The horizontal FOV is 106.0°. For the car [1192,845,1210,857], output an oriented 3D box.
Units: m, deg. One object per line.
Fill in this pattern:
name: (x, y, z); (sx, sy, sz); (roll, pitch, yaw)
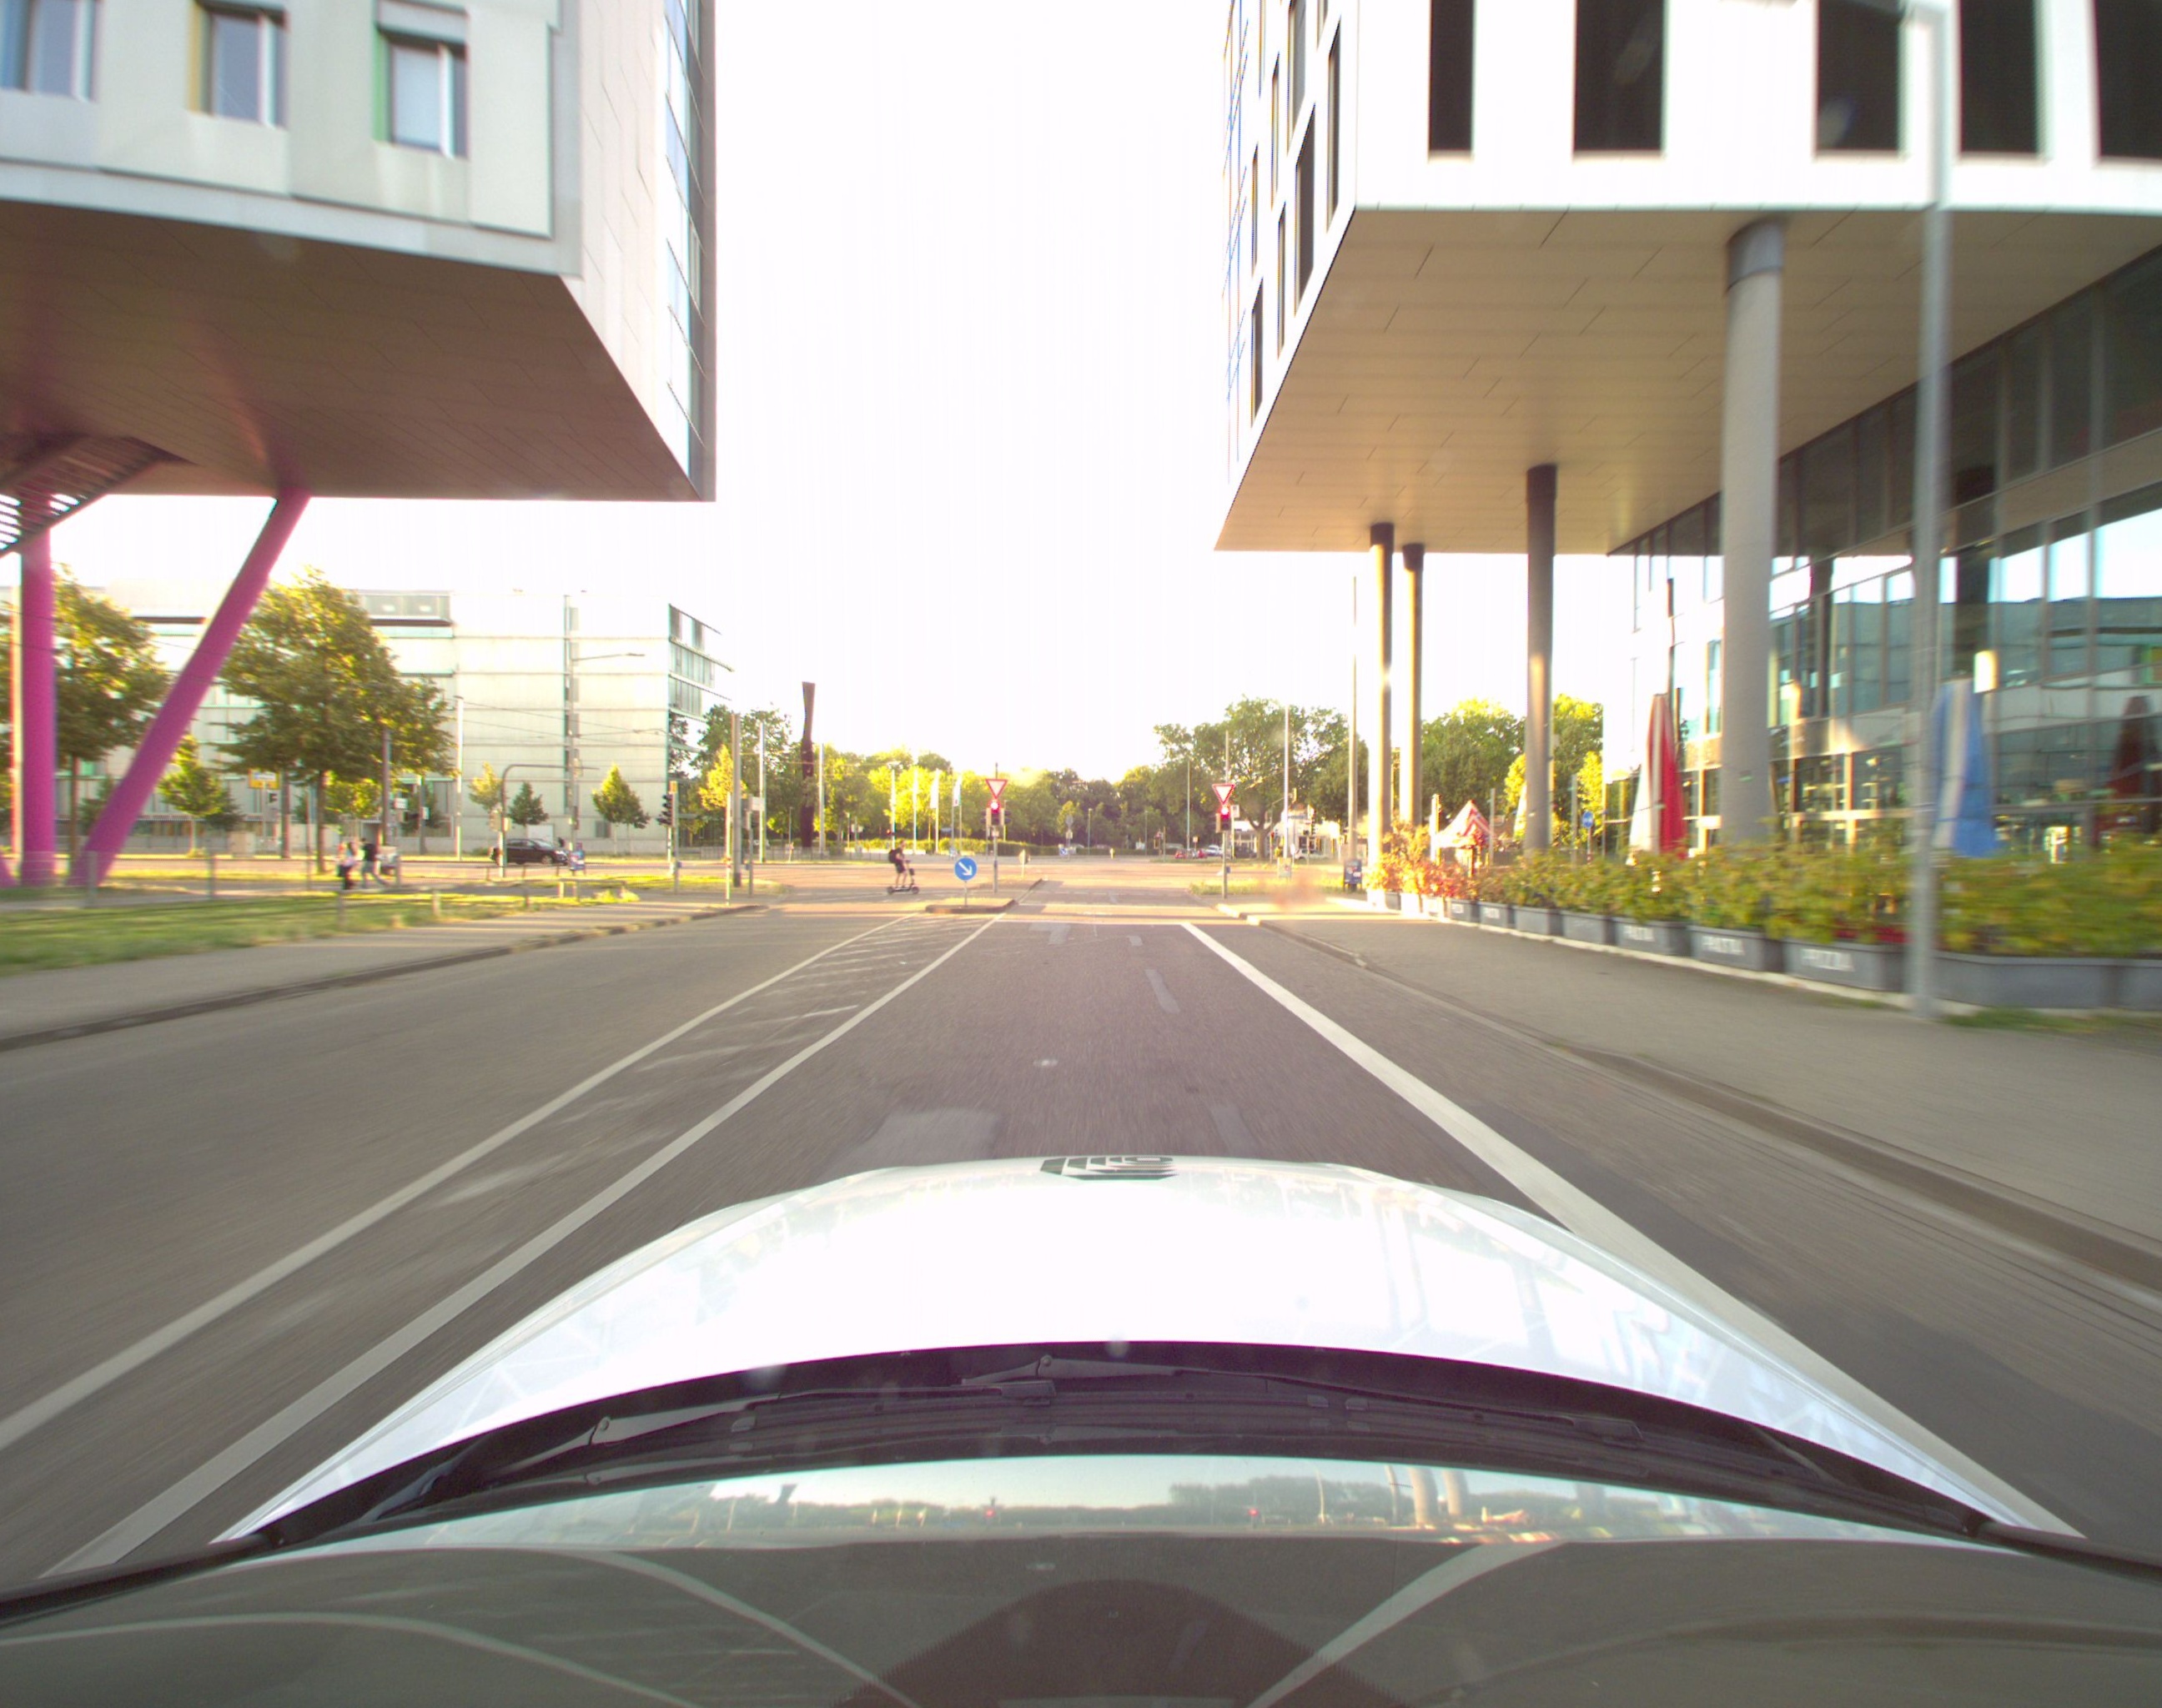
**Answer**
car: (17.227, -0.500, 116.411); (1.483, 1.606, 3.424); (1, 2, 28)

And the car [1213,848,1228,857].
car: (25.305, -0.338, 147.600); (1.483, 1.606, 3.425); (1, 2, 31)

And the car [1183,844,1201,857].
car: (15.386, -0.490, 112.790); (1.483, 1.606, 3.424); (1, 2, 28)

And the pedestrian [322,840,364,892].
pedestrian: (-23.458, 0.377, 25.895); (0.680, 1.624, 0.715); (1, 1, 19)

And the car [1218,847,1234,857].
car: (22.852, -0.306, 128.260); (1.483, 1.477, 3.103); (1, 2, 28)

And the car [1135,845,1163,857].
car: (11.373, -0.469, 136.058); (4.658, 1.869, 2.018); (0, 1, 8)

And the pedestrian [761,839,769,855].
pedestrian: (-41.928, -0.932, 108.211); (0.690, 2.013, 0.702); (1, 1, 21)

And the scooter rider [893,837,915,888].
scooter rider: (-6.239, 0.282, 28.705); (0.704, 1.782, 0.442); (0, 1, -3)

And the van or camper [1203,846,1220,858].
van or camper: (23.152, -0.414, 143.917); (1.609, 1.981, 3.831); (1, 2, 31)

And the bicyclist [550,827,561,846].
bicyclist: (-47.799, -1.618, 74.131); (0.760, 1.723, 0.548); (0, 1, -24)

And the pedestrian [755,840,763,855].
pedestrian: (-42.341, -0.885, 107.130); (0.690, 2.013, 0.702); (1, 1, 21)

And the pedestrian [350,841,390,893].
pedestrian: (-23.233, 0.407, 26.620); (0.694, 1.664, 0.715); (1, 1, 19)

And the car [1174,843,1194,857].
car: (13.842, -0.549, 109.151); (1.483, 1.760, 3.424); (1, 2, 28)

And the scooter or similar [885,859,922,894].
scooter or similar: (-6.250, 0.788, 28.707); (1.210, 1.200, 0.503); (0, 1, -3)

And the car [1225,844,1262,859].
car: (20.360, -0.366, 102.227); (4.443, 1.816, 1.949); (0, 1, 7)

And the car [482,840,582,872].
car: (-32.036, 0.108, 47.633); (4.453, 1.816, 1.945); (0, 1, 0)

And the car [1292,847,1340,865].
car: (24.583, 0.167, 85.286); (4.448, 1.816, 1.947); (0, 1, 3)

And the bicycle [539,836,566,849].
bicycle: (-48.016, -1.042, 74.046); (1.971, 1.128, 0.556); (-1, 1, -24)
